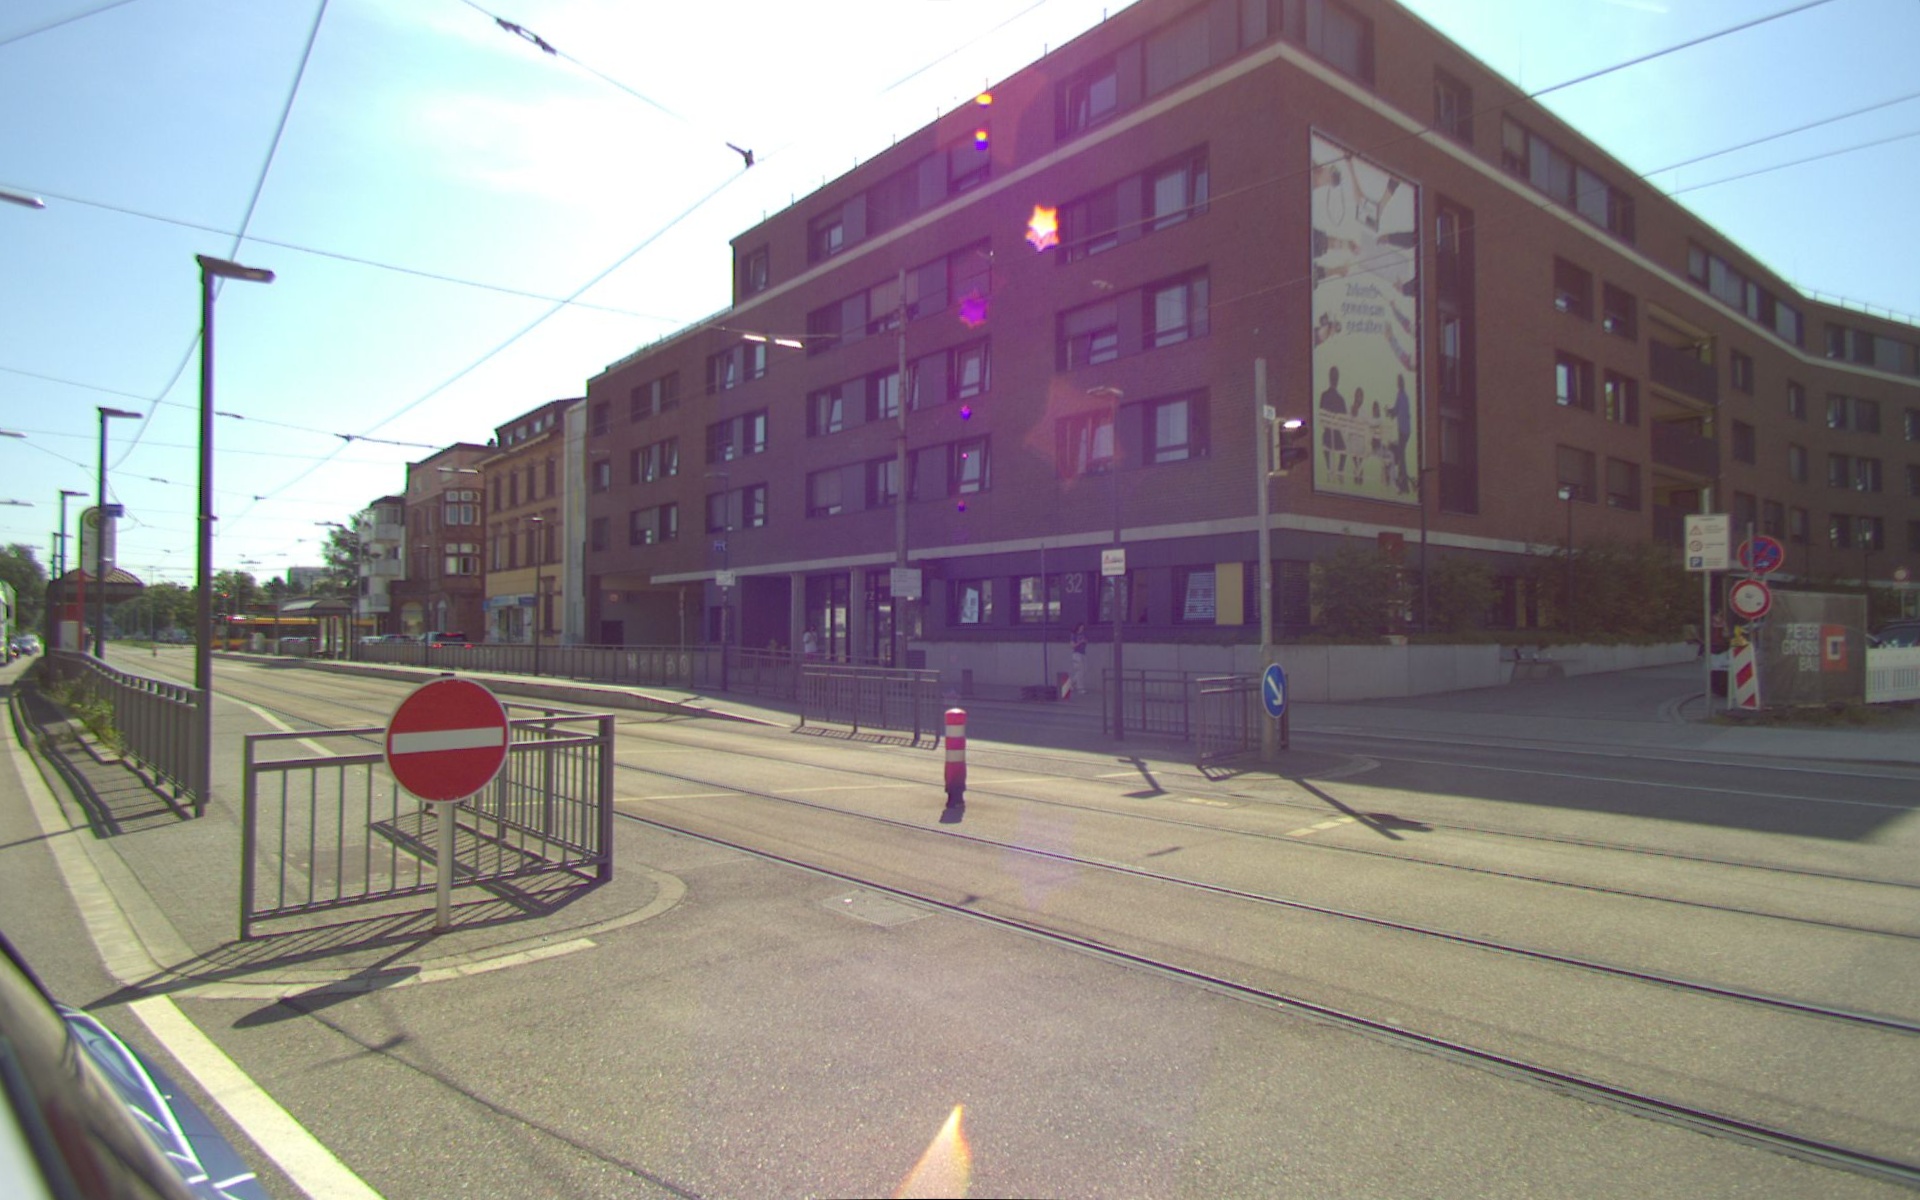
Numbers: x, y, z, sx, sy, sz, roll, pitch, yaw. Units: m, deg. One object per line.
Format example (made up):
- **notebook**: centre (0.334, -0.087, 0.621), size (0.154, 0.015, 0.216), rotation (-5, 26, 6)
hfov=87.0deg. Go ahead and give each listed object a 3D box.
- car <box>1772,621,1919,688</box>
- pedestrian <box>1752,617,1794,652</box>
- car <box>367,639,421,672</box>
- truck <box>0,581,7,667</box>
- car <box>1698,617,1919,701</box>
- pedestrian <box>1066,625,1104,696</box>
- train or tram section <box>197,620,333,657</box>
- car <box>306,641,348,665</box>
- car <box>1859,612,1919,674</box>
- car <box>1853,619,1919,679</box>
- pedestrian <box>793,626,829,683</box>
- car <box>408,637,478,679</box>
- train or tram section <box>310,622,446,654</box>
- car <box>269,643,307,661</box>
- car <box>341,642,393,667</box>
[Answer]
- **car**: centre (20.304, 1.145, 21.732), size (1.837, 1.376, 4.069), rotation (1, -2, -29)
- **pedestrian**: centre (31.579, 1.333, 39.318), size (1.104, 1.310, 1.018), rotation (1, -2, -38)
- **car**: centre (-29.311, 2.851, 52.394), size (1.691, 1.635, 3.583), rotation (0, -2, -42)
- **truck**: centre (-46.119, 1.177, 46.864), size (2.618, 3.823, 7.873), rotation (2, -3, -42)
- **car**: centre (17.049, 1.105, 19.919), size (3.935, 1.434, 1.806), rotation (-2, -1, -10)
- **pedestrian**: centre (2.999, 1.441, 24.344), size (0.574, 1.677, 0.700), rotation (2, -3, -44)
- **train or tram section**: centre (-70.898, 3.949, 103.822), size (2.661, 3.507, 13.284), rotation (-1, -2, 12)
- **car**: centre (-40.165, 3.368, 64.151), size (1.606, 1.480, 3.870), rotation (1, -3, -42)
- **car**: centre (25.124, 1.064, 24.950), size (1.787, 1.543, 4.068), rotation (1, -2, -32)
- **car**: centre (22.963, 1.098, 22.624), size (1.836, 1.376, 4.070), rotation (0, -1, -23)
- **pedestrian**: centre (-4.830, 1.758, 32.777), size (0.834, 1.833, 0.839), rotation (1, -3, -42)
- **car**: centre (-23.133, 2.563, 45.239), size (1.779, 1.742, 4.194), rotation (-1, -2, -42)
- **train or tram section**: centre (-65.641, 4.293, 114.664), size (2.687, 3.507, 13.154), rotation (-2, -3, 41)
- **car**: centre (-50.066, 3.868, 75.387), size (1.691, 1.253, 4.083), rotation (-1, -1, -43)
- **car**: centre (-33.799, 3.092, 57.667), size (1.612, 1.374, 4.526), rotation (2, -3, -43)
